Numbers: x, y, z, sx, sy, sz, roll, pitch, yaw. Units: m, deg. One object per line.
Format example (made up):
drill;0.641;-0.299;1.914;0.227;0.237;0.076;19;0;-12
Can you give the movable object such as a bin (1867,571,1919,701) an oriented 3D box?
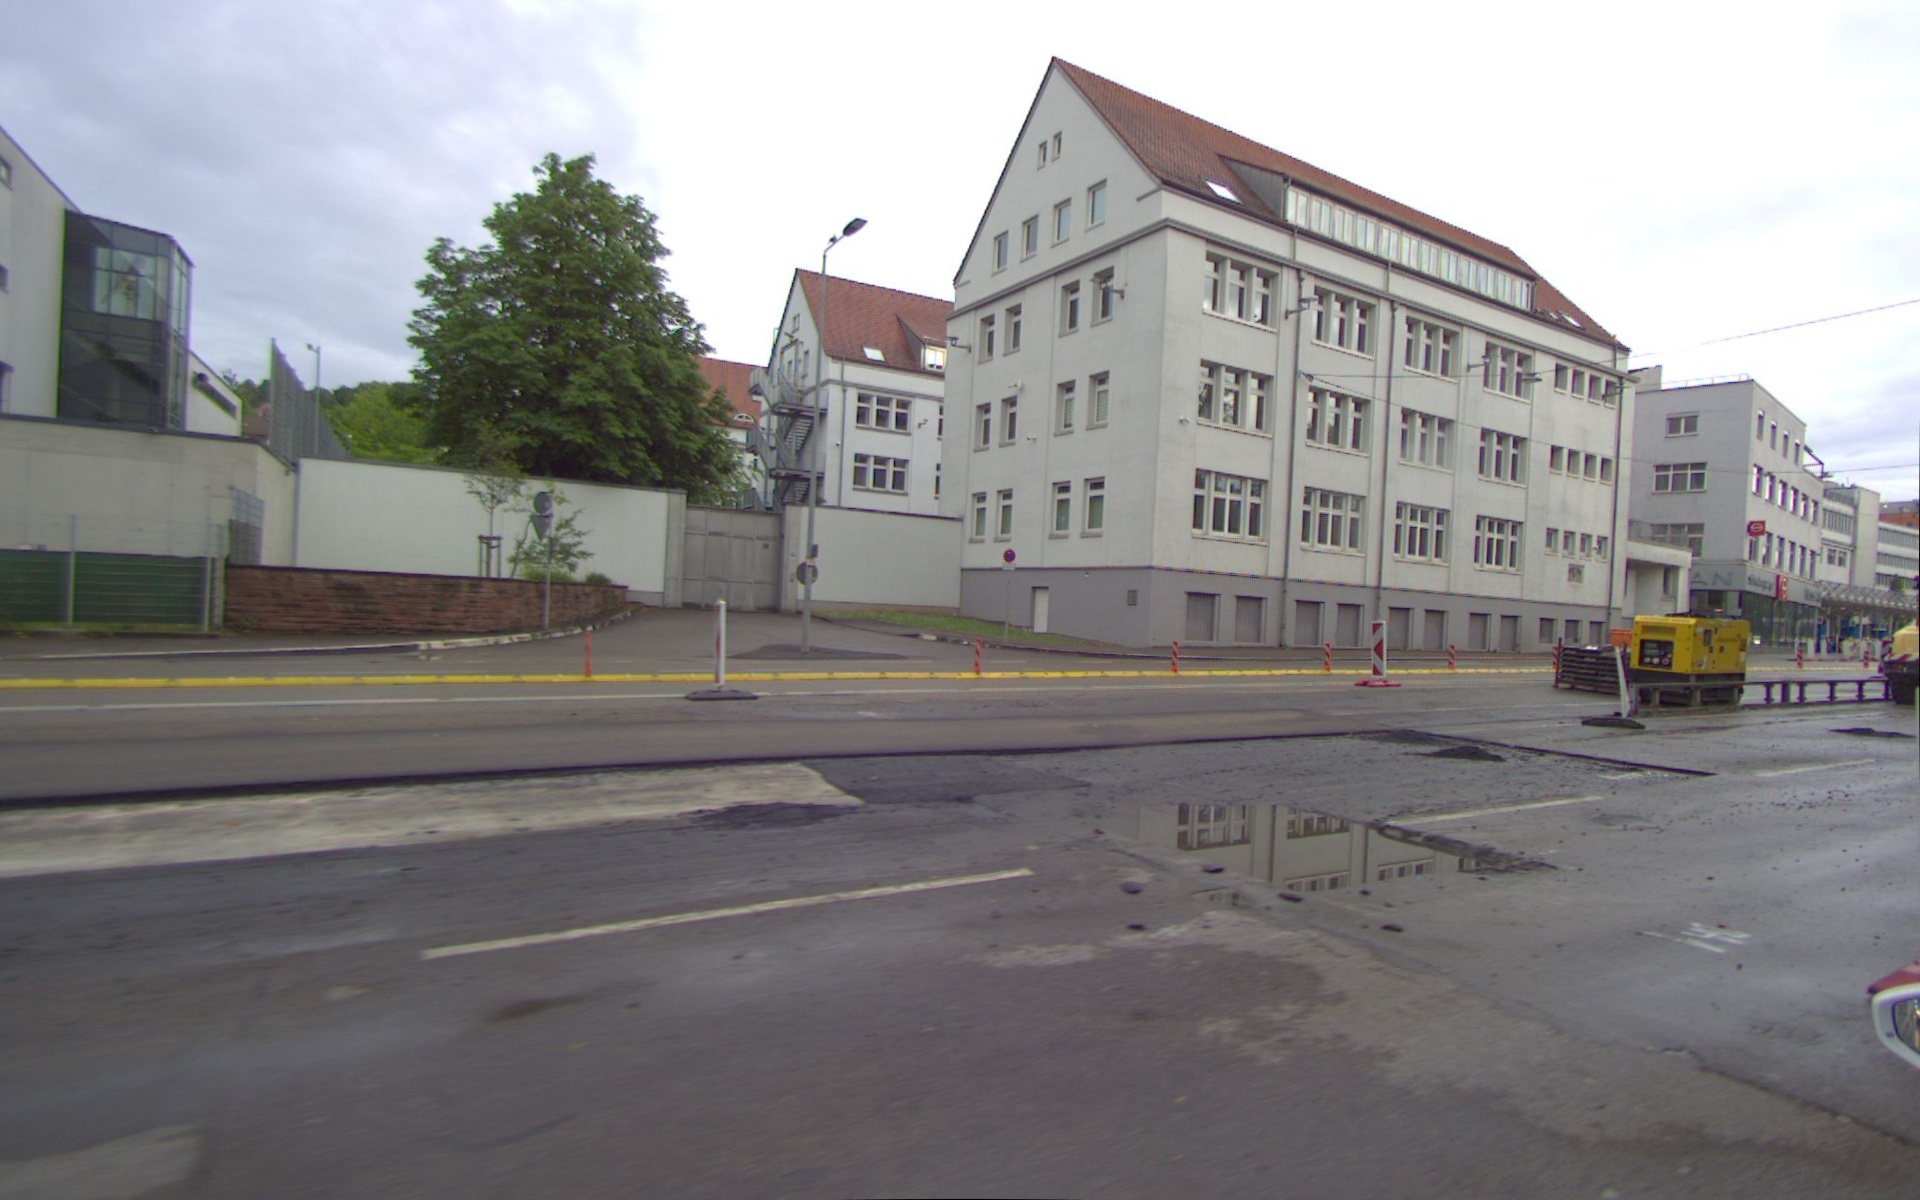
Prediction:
movable object such as a bin;21.917;0.851;21.721;5.321;2.643;1.893;3;-1;-31

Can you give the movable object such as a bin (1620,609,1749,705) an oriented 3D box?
movable object such as a bin;13.649;1.074;18.908;2.411;1.666;1.078;3;0;-31
